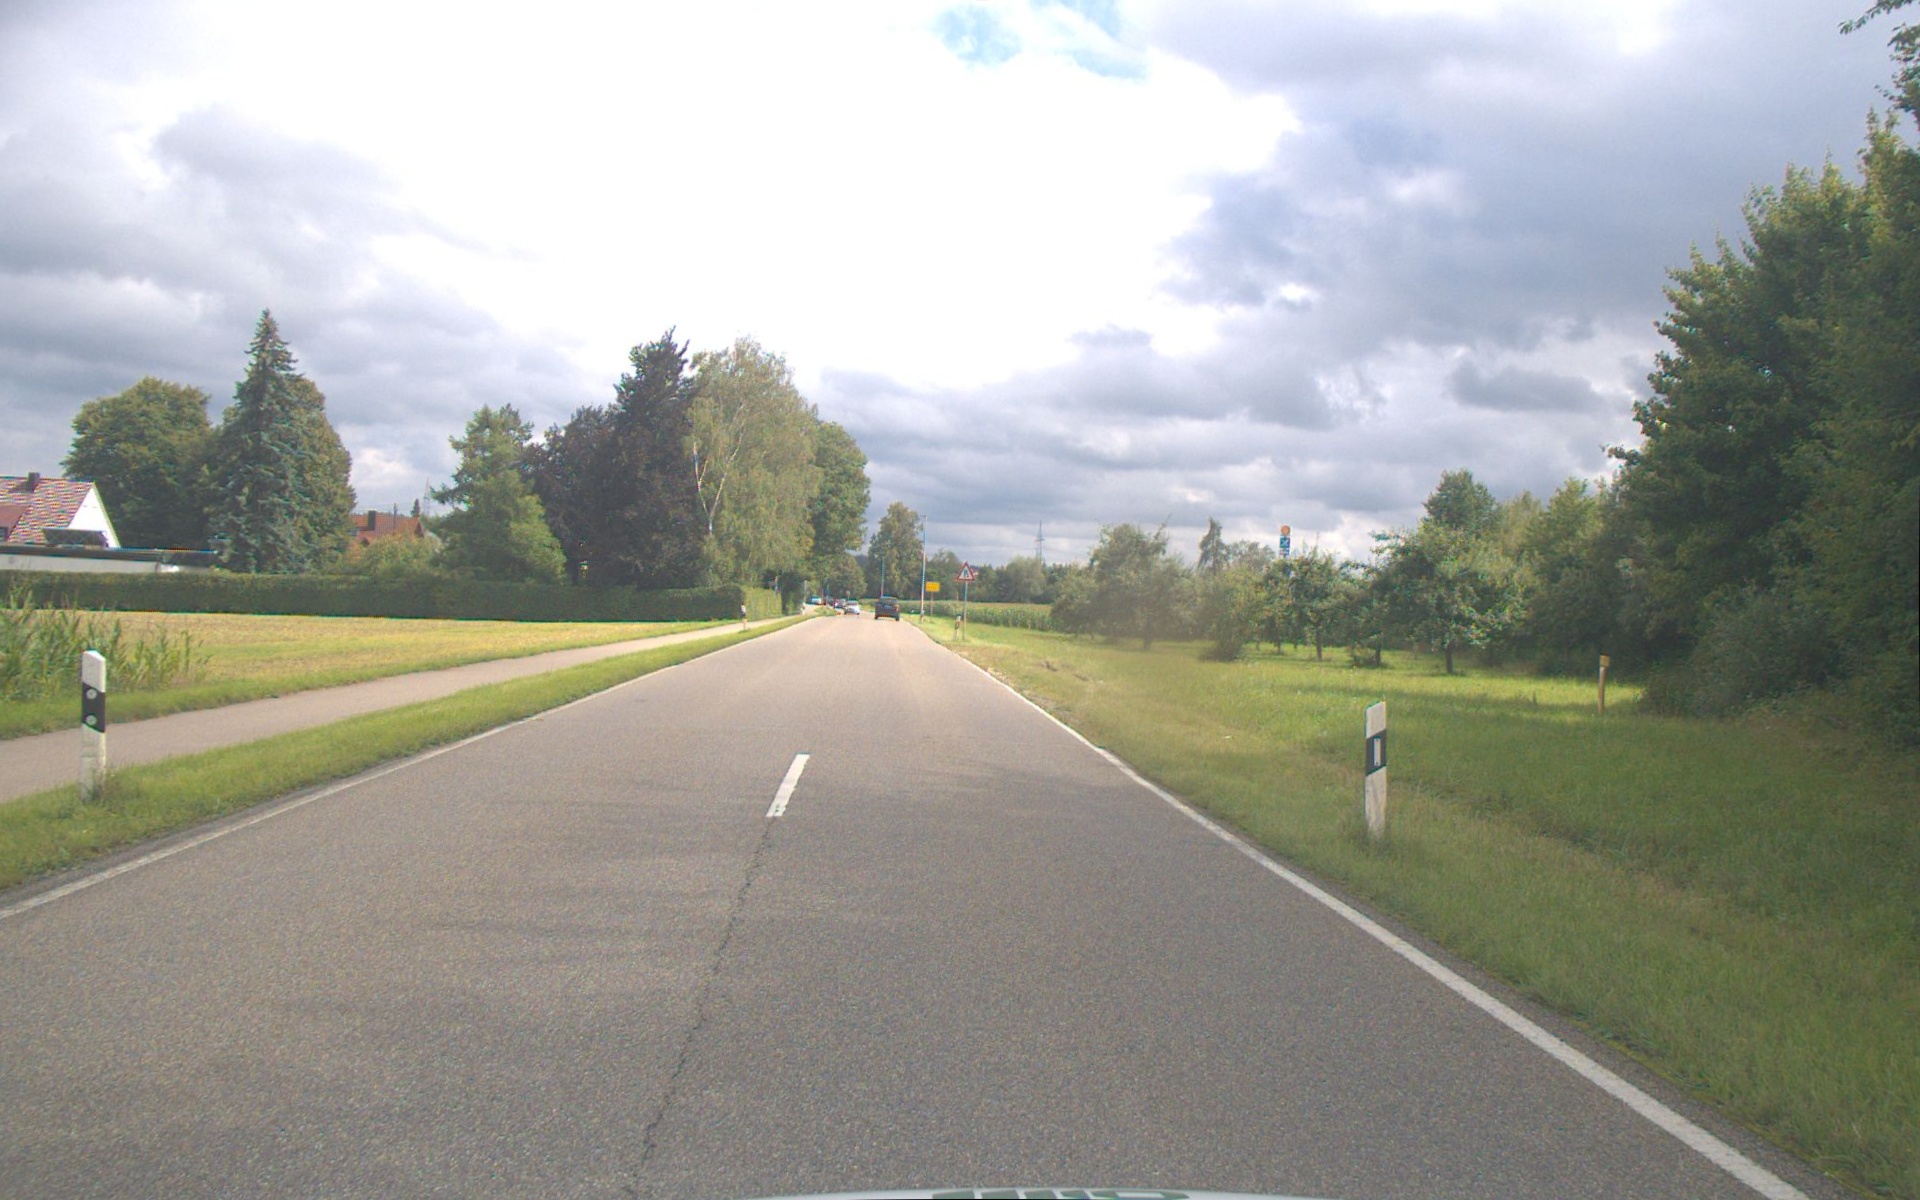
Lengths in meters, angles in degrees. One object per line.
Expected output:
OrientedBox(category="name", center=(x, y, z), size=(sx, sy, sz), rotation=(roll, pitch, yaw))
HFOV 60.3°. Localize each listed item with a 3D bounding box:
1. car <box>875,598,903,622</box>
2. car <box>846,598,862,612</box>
OrientedBox(category="car", center=(-5.228, 0.697, 122.226), size=(1.868, 1.695, 3.999), rotation=(1, 0, -1))
OrientedBox(category="car", center=(-11.751, 0.552, 183.043), size=(1.661, 1.484, 3.541), rotation=(1, 0, -3))
